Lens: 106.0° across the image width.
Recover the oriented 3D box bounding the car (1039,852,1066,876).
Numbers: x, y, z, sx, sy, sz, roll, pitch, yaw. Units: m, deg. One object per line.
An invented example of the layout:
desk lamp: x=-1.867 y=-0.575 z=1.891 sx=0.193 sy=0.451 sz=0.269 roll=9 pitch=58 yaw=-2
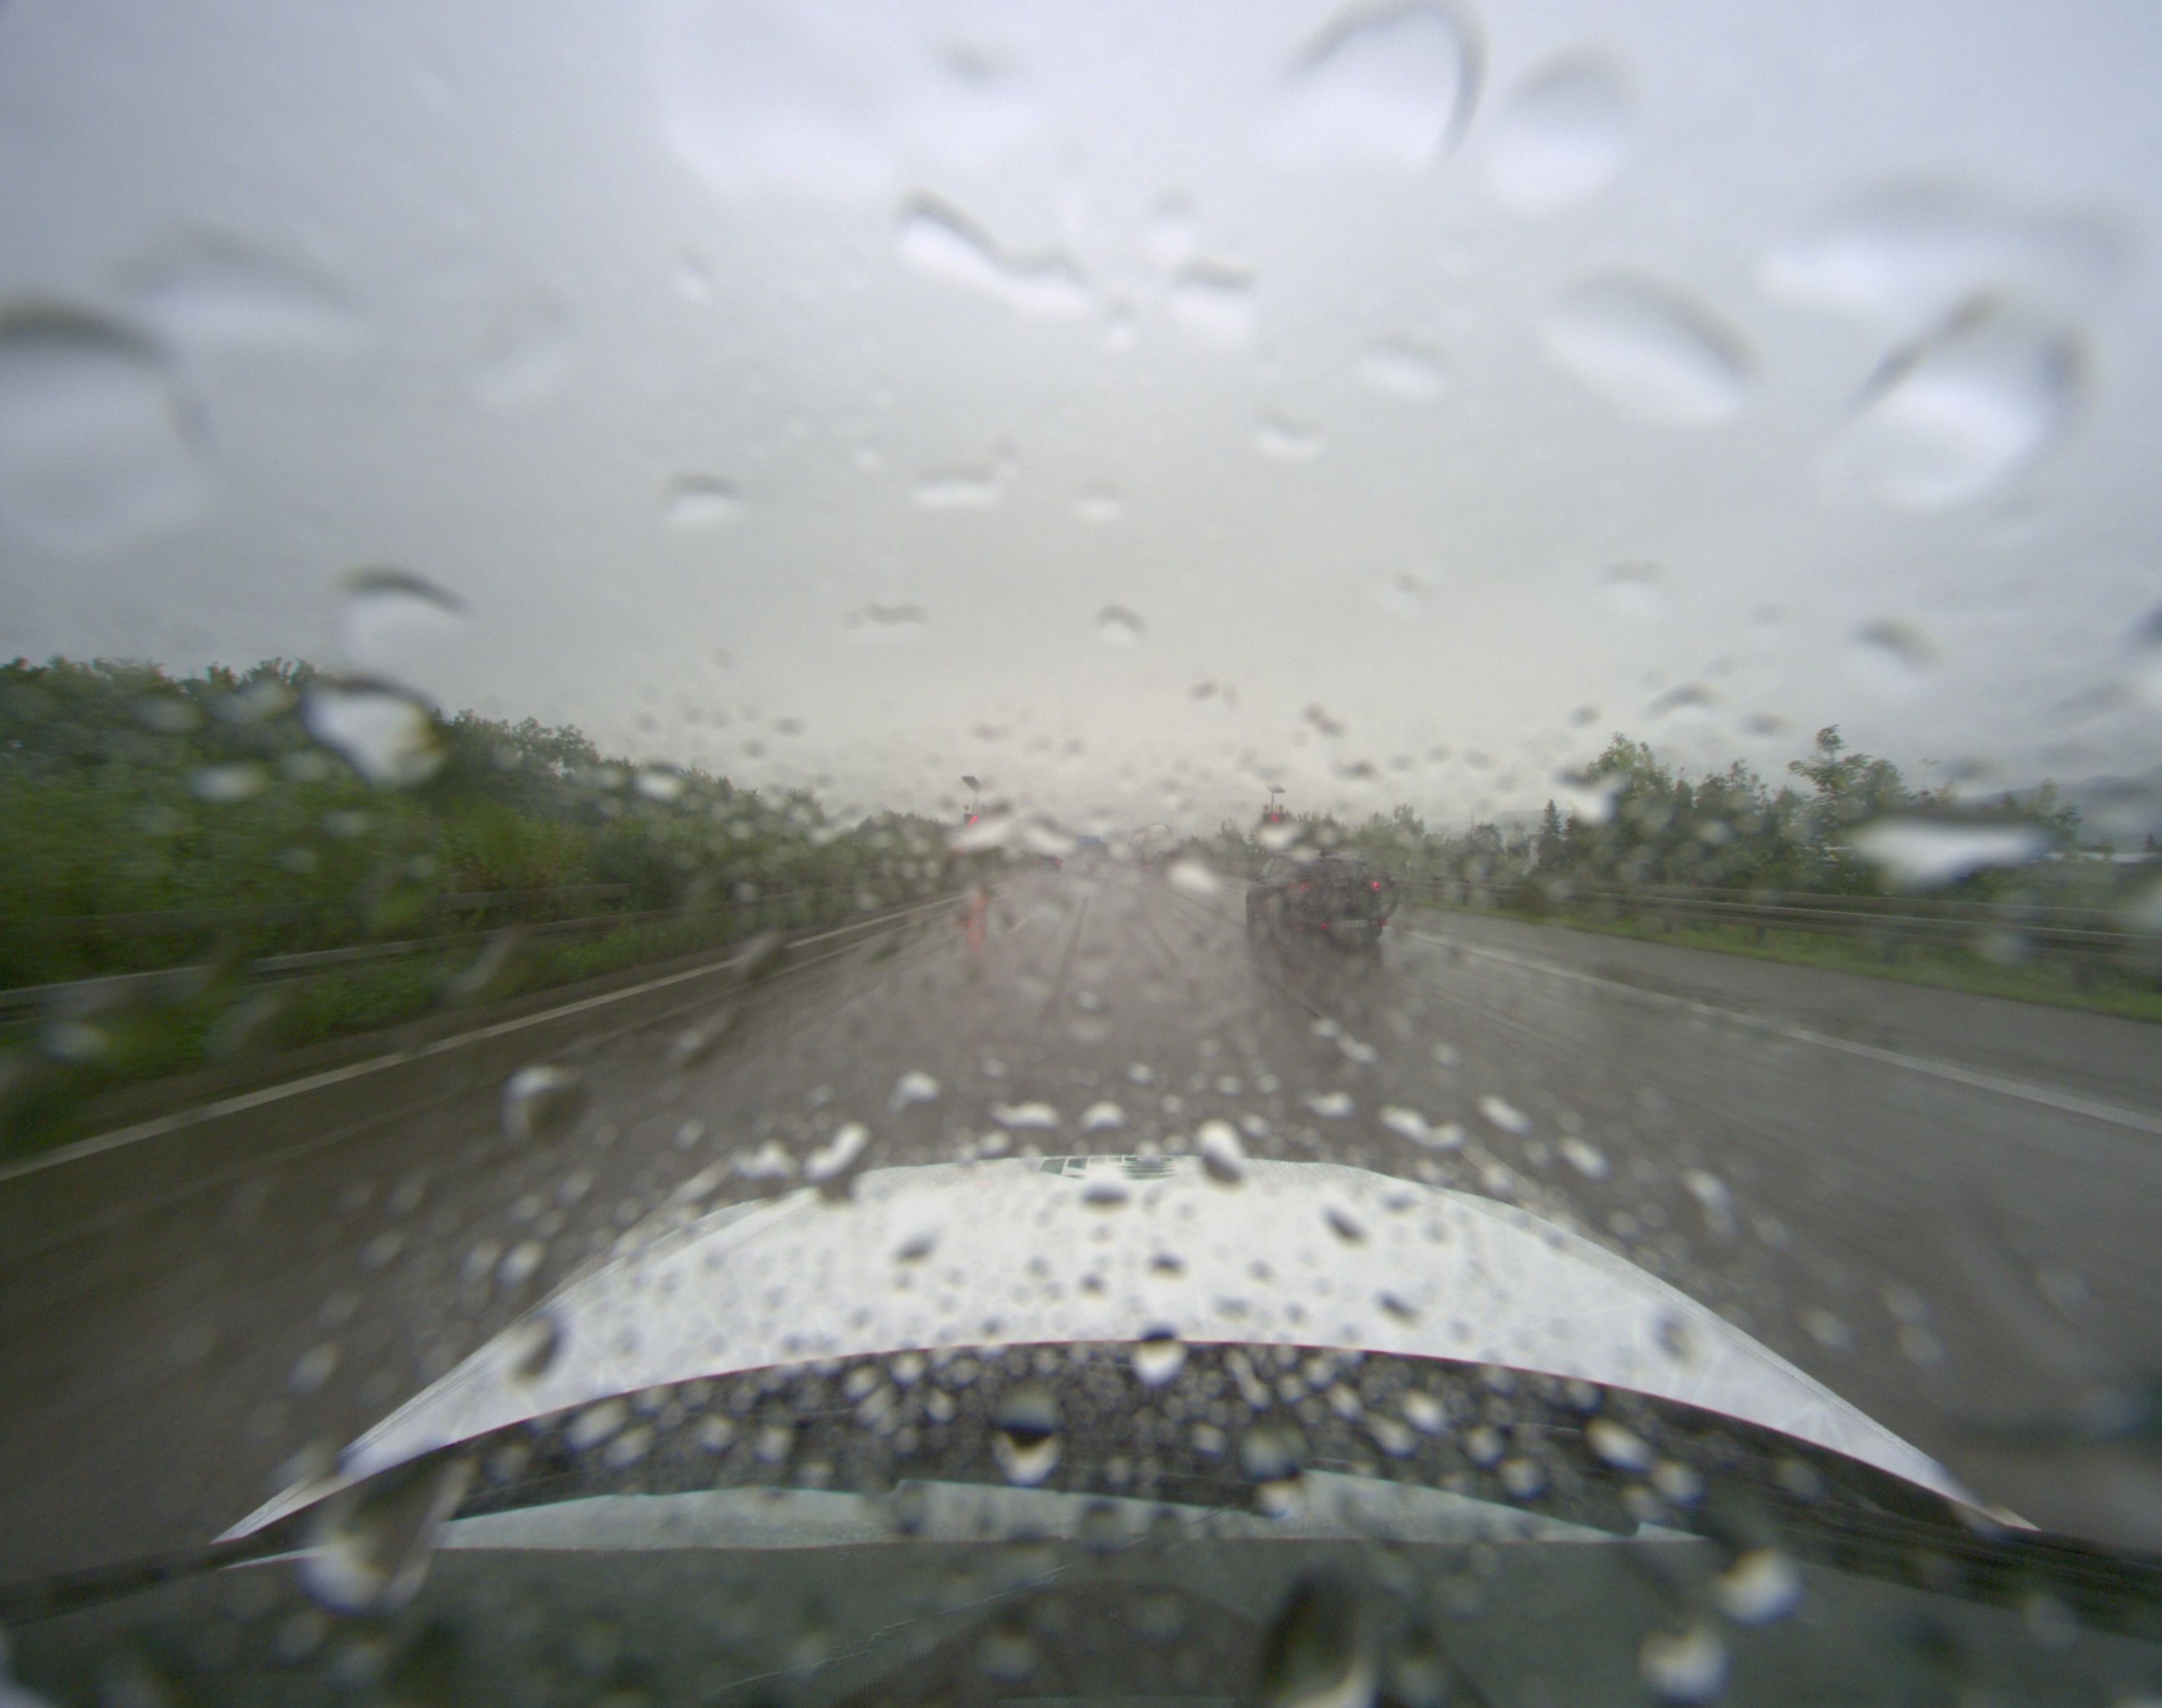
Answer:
car: x=-2.168 y=0.759 z=63.114 sx=1.919 sy=1.741 sz=4.403 roll=-1 pitch=0 yaw=0

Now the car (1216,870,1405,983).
car: x=4.233 y=1.255 z=16.234 sx=2.447 sy=1.746 sz=5.724 roll=-1 pitch=0 yaw=3

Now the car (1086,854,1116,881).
car: x=1.363 y=0.897 z=55.729 sx=1.971 sy=1.756 sz=4.482 roll=-1 pitch=0 yaw=1

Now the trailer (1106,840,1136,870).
trailer: x=5.261 y=0.101 z=108.233 sx=2.998 sy=3.847 sz=8.613 roll=0 pitch=0 yaw=-3

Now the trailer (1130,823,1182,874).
trailer: x=5.811 y=-0.402 z=64.966 sx=3.177 sy=3.670 sz=11.668 roll=-1 pitch=0 yaw=1
